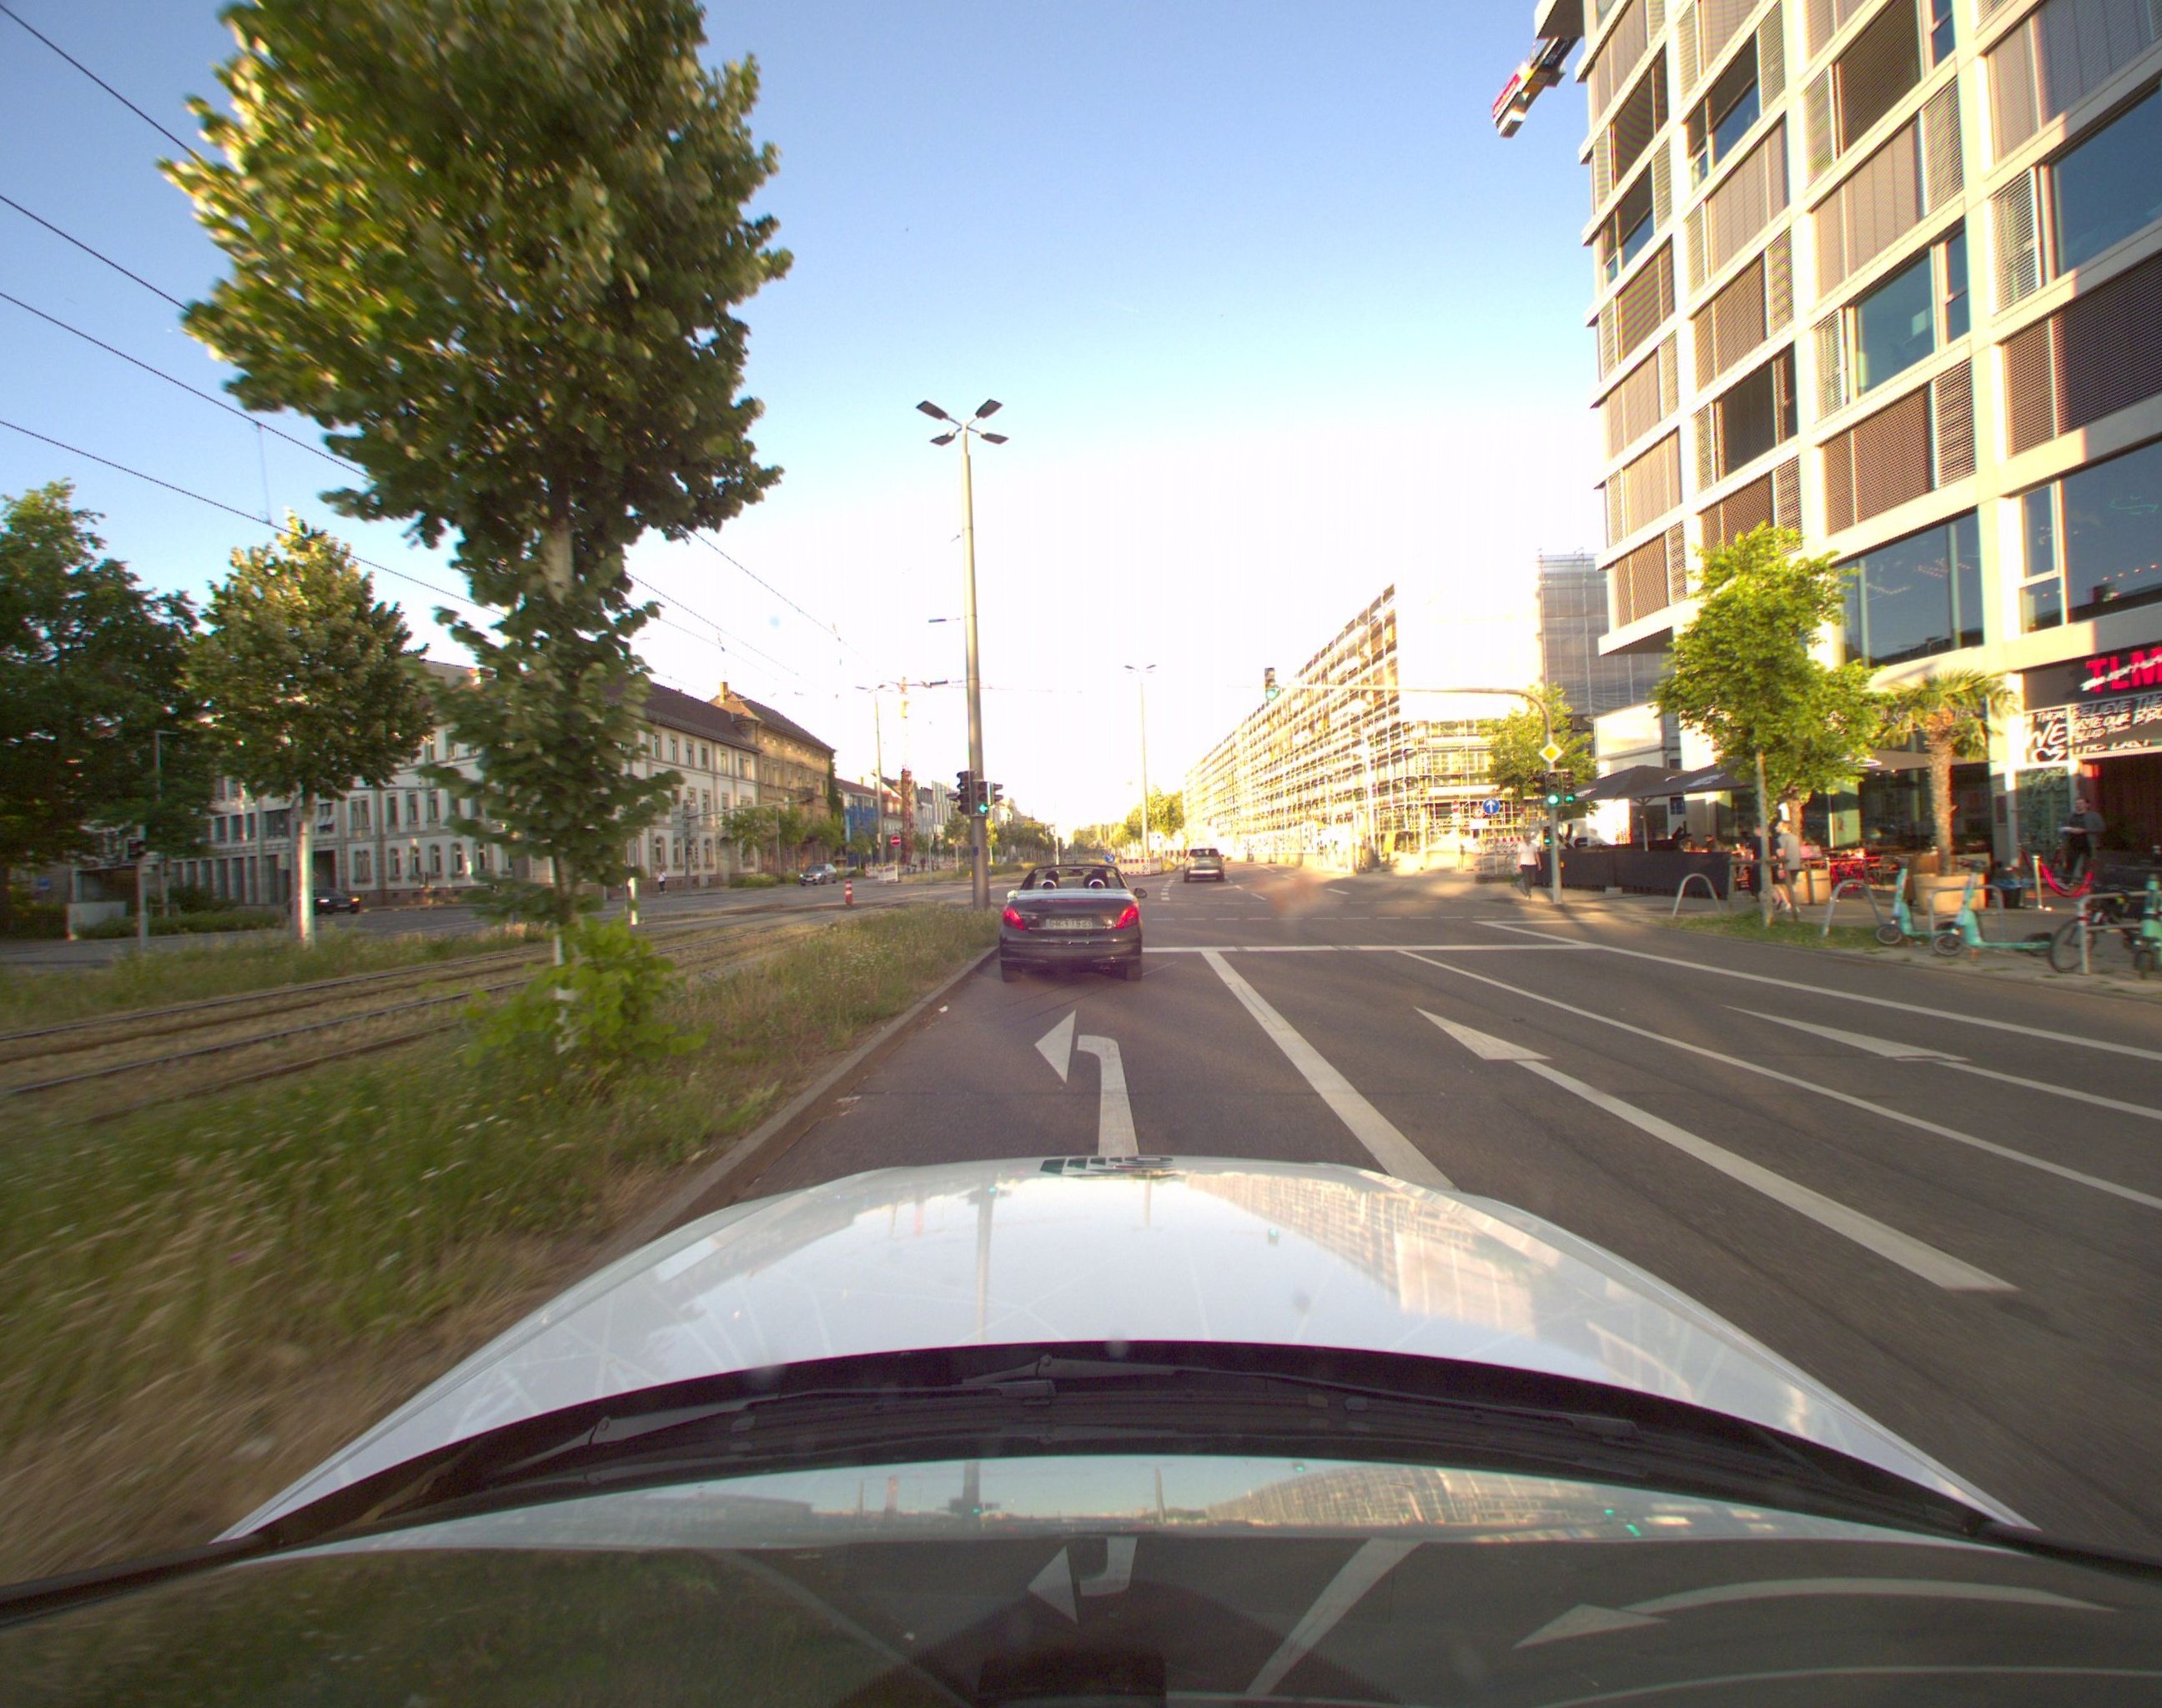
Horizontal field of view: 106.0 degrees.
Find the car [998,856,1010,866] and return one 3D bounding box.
[{"bbox_3d":[-14.921,1.312,157.346,1.651,1.964,4.269,0,0,3],"label":"car"}]

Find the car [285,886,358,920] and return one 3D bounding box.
[{"bbox_3d":[-40.311,2.560,43.212,3.949,1.555,1.801,0,0,30],"label":"car"}]

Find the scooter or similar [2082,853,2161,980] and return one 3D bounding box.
[{"bbox_3d":[11.255,0.613,8.428,1.207,1.201,0.479,-4,0,-5],"label":"scooter or similar"}]

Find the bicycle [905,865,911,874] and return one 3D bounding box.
[{"bbox_3d":[-20.626,1.832,96.947,0.589,0.989,1.552,0,0,-8],"label":"bicycle"}]

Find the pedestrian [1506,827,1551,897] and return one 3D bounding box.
[{"bbox_3d":[12.216,0.204,22.230,0.766,1.847,0.678,-3,0,0],"label":"pedestrian"}]

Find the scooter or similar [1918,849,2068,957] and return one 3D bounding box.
[{"bbox_3d":[11.258,0.591,10.081,1.055,1.223,0.551,-5,0,10],"label":"scooter or similar"}]

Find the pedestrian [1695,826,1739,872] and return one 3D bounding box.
[{"bbox_3d":[19.285,-0.161,24.709,0.740,1.319,0.717,-5,0,13],"label":"pedestrian"}]

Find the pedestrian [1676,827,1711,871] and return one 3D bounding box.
[{"bbox_3d":[19.266,-0.175,25.633,0.608,1.319,0.624,-5,0,19],"label":"pedestrian"}]

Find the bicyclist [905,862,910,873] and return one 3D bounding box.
[{"bbox_3d":[-20.625,1.596,96.949,0.589,1.266,0.458,0,0,-8],"label":"bicyclist"}]

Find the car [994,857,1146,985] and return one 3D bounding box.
[{"bbox_3d":[-0.085,0.751,11.049,1.668,1.352,4.001,-1,0,1],"label":"car"}]

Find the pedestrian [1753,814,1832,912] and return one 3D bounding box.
[{"bbox_3d":[13.307,0.165,15.248,0.683,1.734,0.761,-5,0,0],"label":"pedestrian"}]

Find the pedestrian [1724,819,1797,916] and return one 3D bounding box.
[{"bbox_3d":[12.534,0.241,15.043,0.651,1.702,0.689,-4,0,0],"label":"pedestrian"}]

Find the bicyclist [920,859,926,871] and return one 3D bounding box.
[{"bbox_3d":[-19.493,1.368,100.700,0.587,1.569,0.711,0,0,2],"label":"bicyclist"}]

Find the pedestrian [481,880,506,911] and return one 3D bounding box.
[{"bbox_3d":[-27.994,1.971,38.815,0.603,1.458,0.933,0,0,-8],"label":"pedestrian"}]

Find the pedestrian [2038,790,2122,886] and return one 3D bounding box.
[{"bbox_3d":[18.615,-0.290,15.189,0.853,1.703,0.576,-4,0,-8],"label":"pedestrian"}]

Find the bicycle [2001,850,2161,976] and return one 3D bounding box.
[{"bbox_3d":[11.307,0.622,8.958,1.790,1.193,0.567,-5,0,-4],"label":"bicycle"}]

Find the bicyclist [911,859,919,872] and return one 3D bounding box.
[{"bbox_3d":[-20.525,1.387,100.777,0.769,1.570,0.793,0,0,2],"label":"bicyclist"}]

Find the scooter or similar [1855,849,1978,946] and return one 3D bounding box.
[{"bbox_3d":[11.530,0.586,11.259,1.049,1.223,0.598,-4,0,-4],"label":"scooter or similar"}]

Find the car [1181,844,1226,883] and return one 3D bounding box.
[{"bbox_3d":[5.729,0.401,38.479,1.825,1.672,4.288,-1,0,5],"label":"car"}]

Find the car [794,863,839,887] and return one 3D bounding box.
[{"bbox_3d":[-20.534,1.619,63.355,1.986,1.580,4.126,-4,0,2],"label":"car"}]

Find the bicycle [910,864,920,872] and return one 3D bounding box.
[{"bbox_3d":[-20.526,1.781,100.775,0.769,0.945,1.641,0,0,3],"label":"bicycle"}]

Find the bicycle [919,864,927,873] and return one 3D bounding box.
[{"bbox_3d":[-19.493,1.796,100.705,0.587,0.975,1.557,0,0,2],"label":"bicycle"}]

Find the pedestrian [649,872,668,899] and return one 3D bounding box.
[{"bbox_3d":[-27.743,2.055,53.476,0.698,1.715,0.815,0,0,9],"label":"pedestrian"}]
